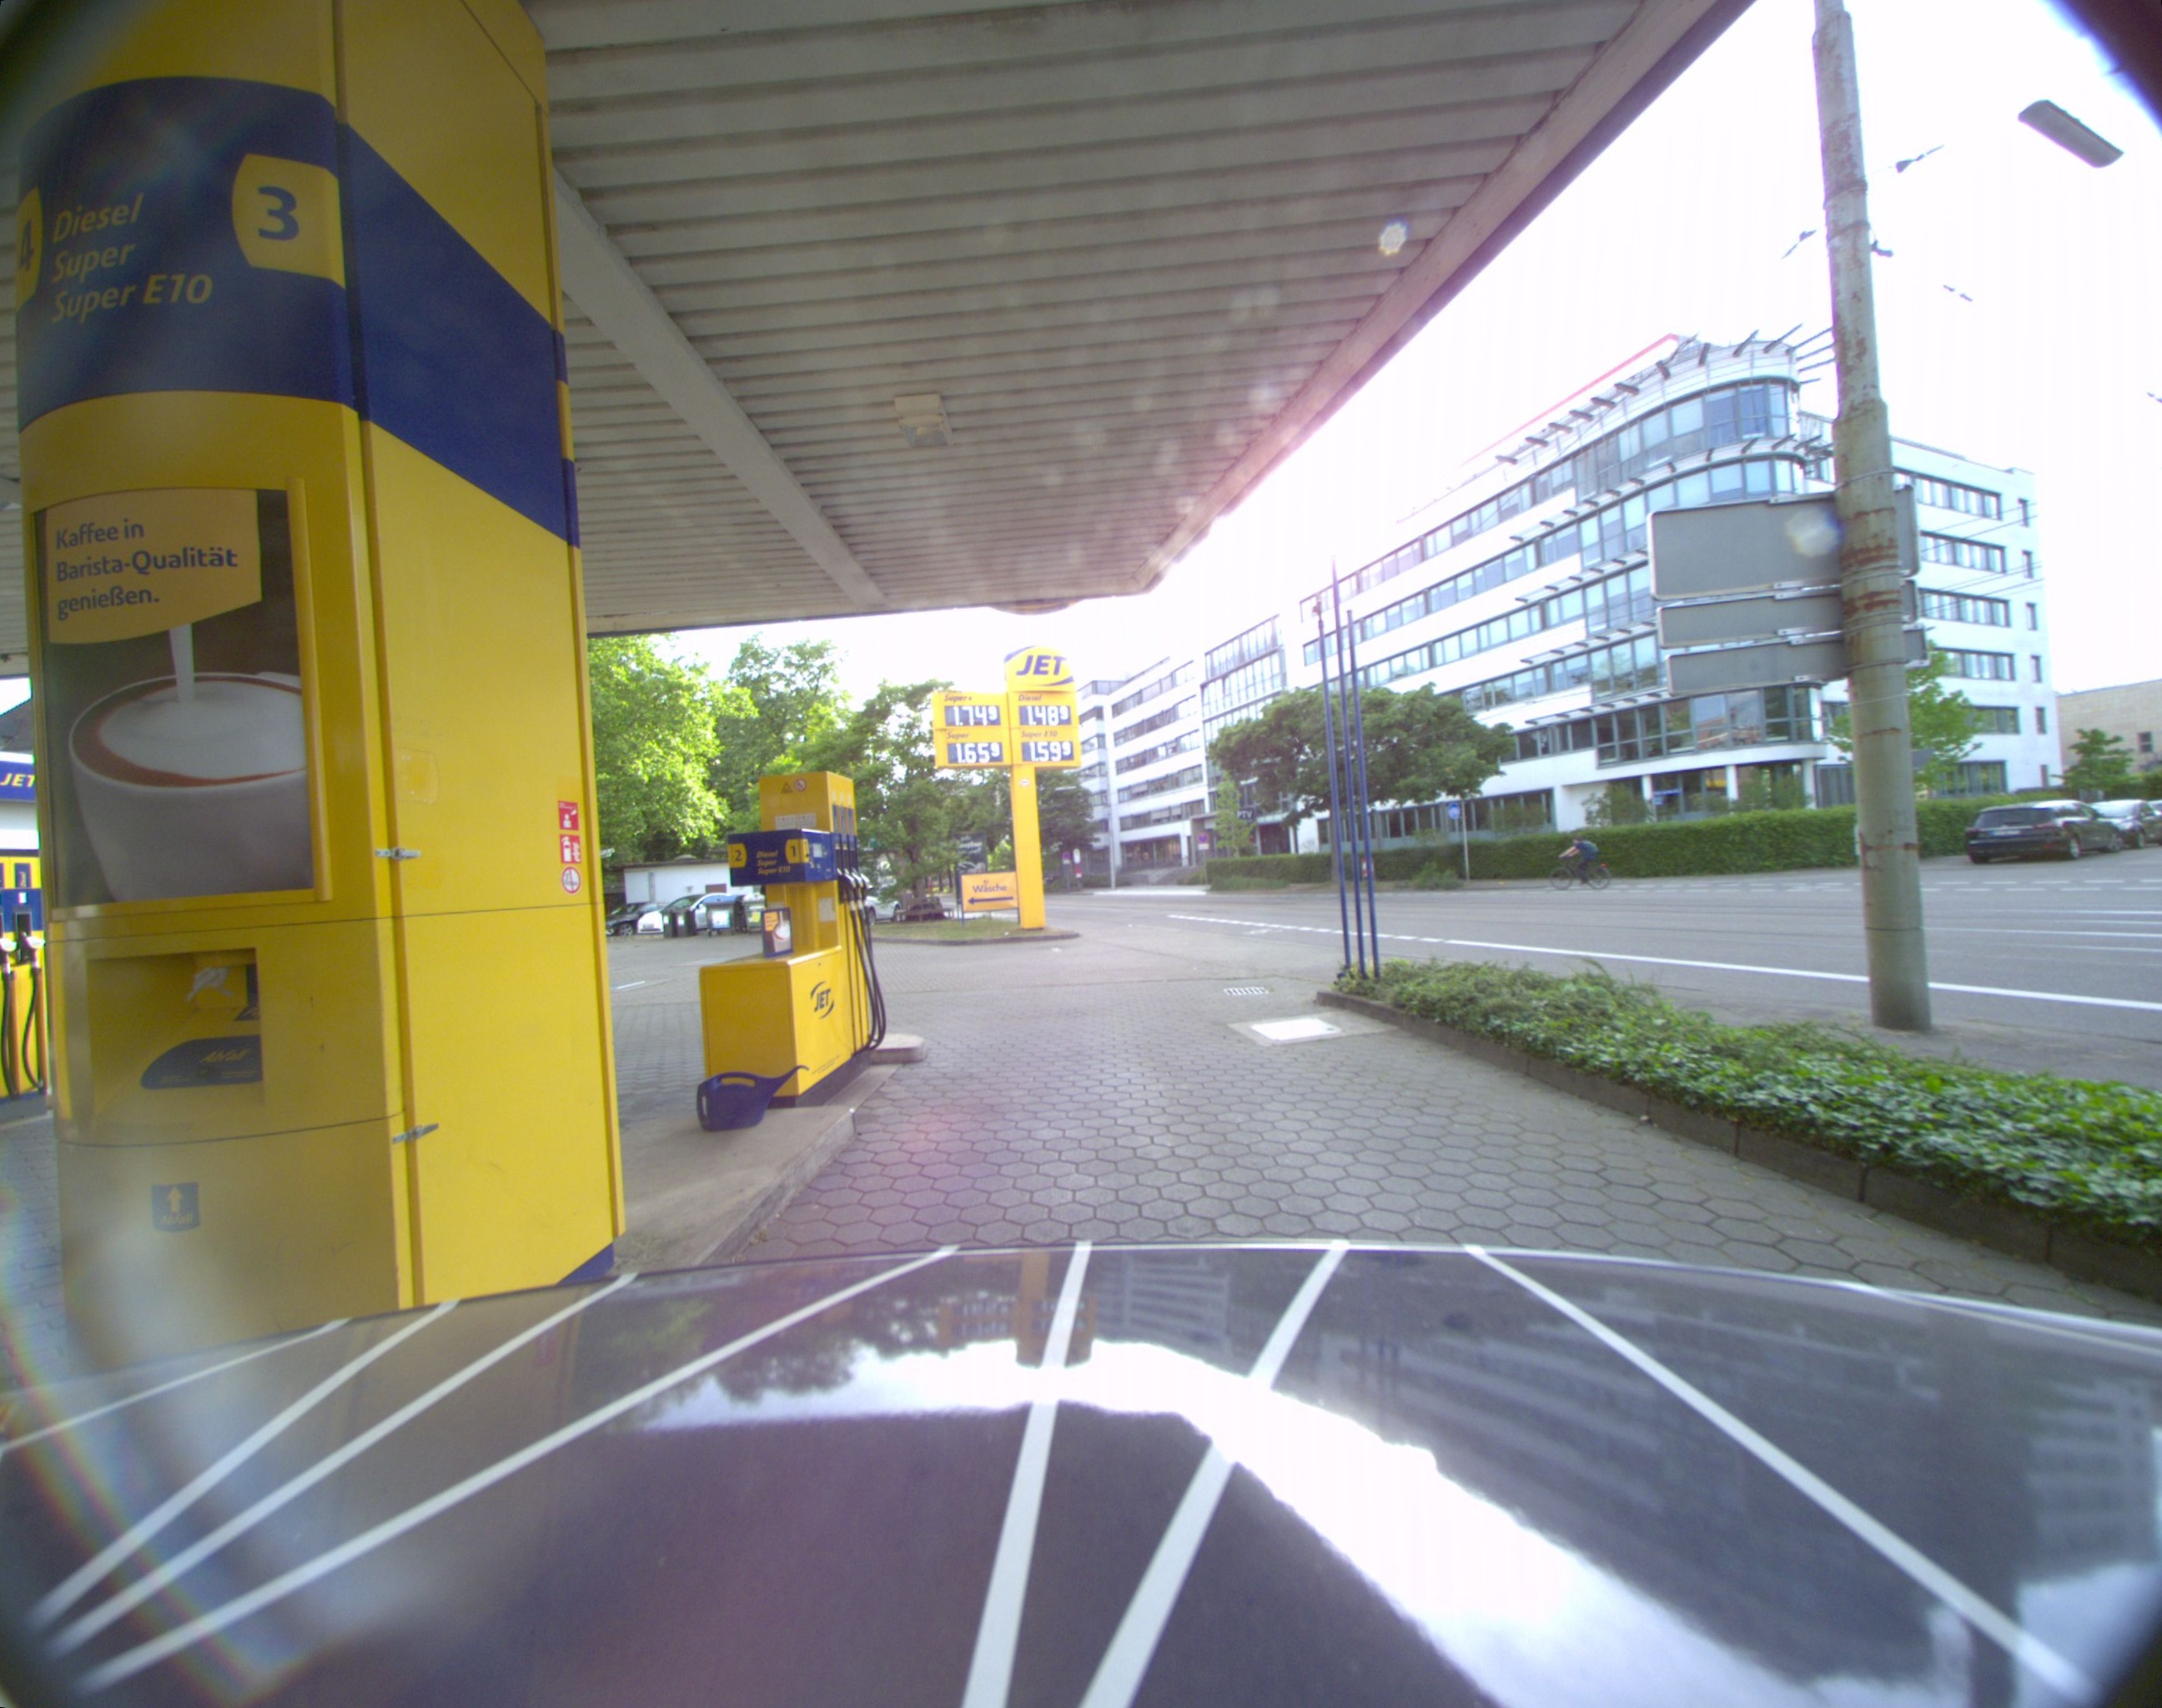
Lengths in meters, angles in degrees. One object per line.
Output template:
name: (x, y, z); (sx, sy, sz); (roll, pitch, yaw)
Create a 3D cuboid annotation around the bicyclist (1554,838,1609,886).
bicyclist: (15.729, 0.258, 23.899); (0.792, 1.443, 1.173); (-3, 1, -29)

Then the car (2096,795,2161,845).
car: (37.108, -1.247, 26.017); (4.201, 1.568, 1.820); (-4, -1, -24)

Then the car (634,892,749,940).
car: (-15.387, 2.401, 30.257); (1.823, 1.575, 4.200); (-4, -2, 10)

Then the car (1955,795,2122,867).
car: (27.421, -0.666, 21.759); (4.397, 1.678, 1.820); (-4, -1, -24)

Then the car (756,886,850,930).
car: (-11.744, 2.254, 32.469); (1.823, 1.575, 4.200); (-4, -2, 10)

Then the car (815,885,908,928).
car: (-8.654, 2.038, 30.381); (1.823, 1.449, 4.200); (-4, -2, 10)

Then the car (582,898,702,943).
car: (-17.531, 2.619, 30.612); (1.823, 1.426, 4.200); (-4, -2, 10)

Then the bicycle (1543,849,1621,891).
bicycle: (15.750, 0.497, 23.925); (0.792, 1.232, 1.878); (-3, 1, -29)

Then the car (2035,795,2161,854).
car: (32.579, -0.954, 24.069); (4.201, 1.568, 1.820); (-4, -1, -24)
